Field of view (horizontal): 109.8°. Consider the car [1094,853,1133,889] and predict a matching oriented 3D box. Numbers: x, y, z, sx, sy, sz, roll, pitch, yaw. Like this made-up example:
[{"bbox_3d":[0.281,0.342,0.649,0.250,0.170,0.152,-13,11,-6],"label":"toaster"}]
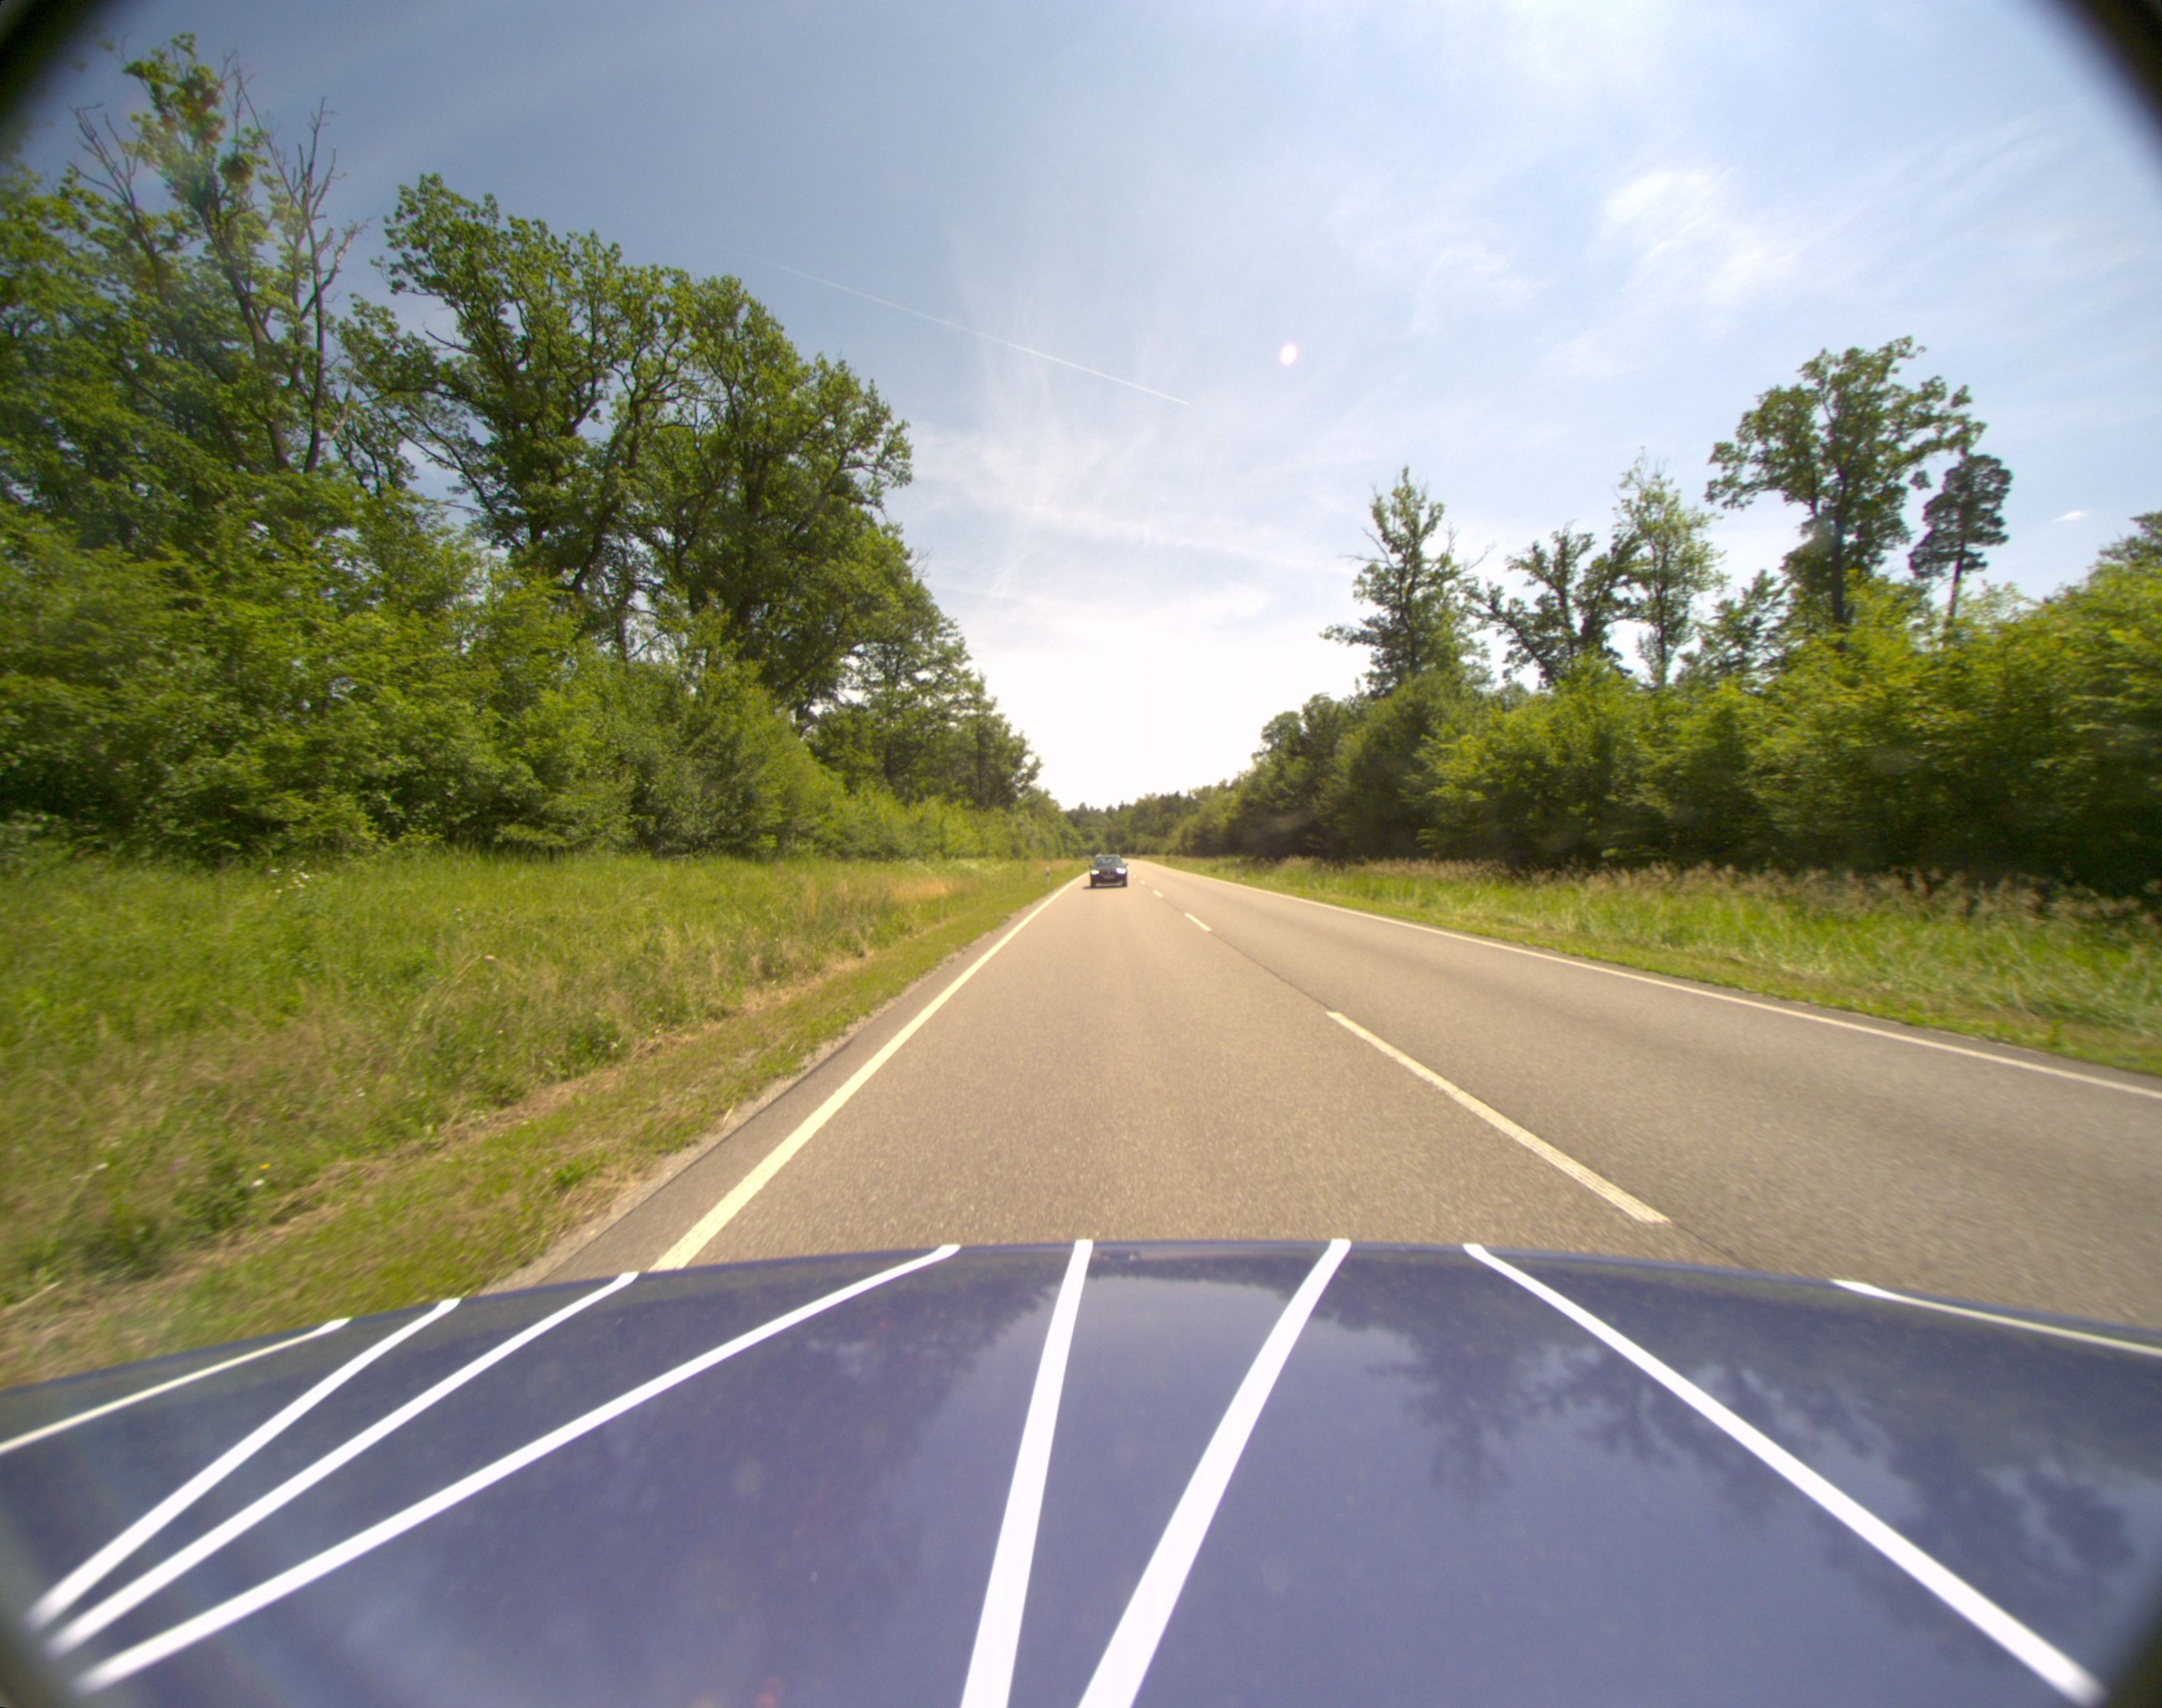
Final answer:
[{"bbox_3d":[1.586,0.777,36.685,1.713,1.516,4.242,-3,0,3],"label":"car"}]
